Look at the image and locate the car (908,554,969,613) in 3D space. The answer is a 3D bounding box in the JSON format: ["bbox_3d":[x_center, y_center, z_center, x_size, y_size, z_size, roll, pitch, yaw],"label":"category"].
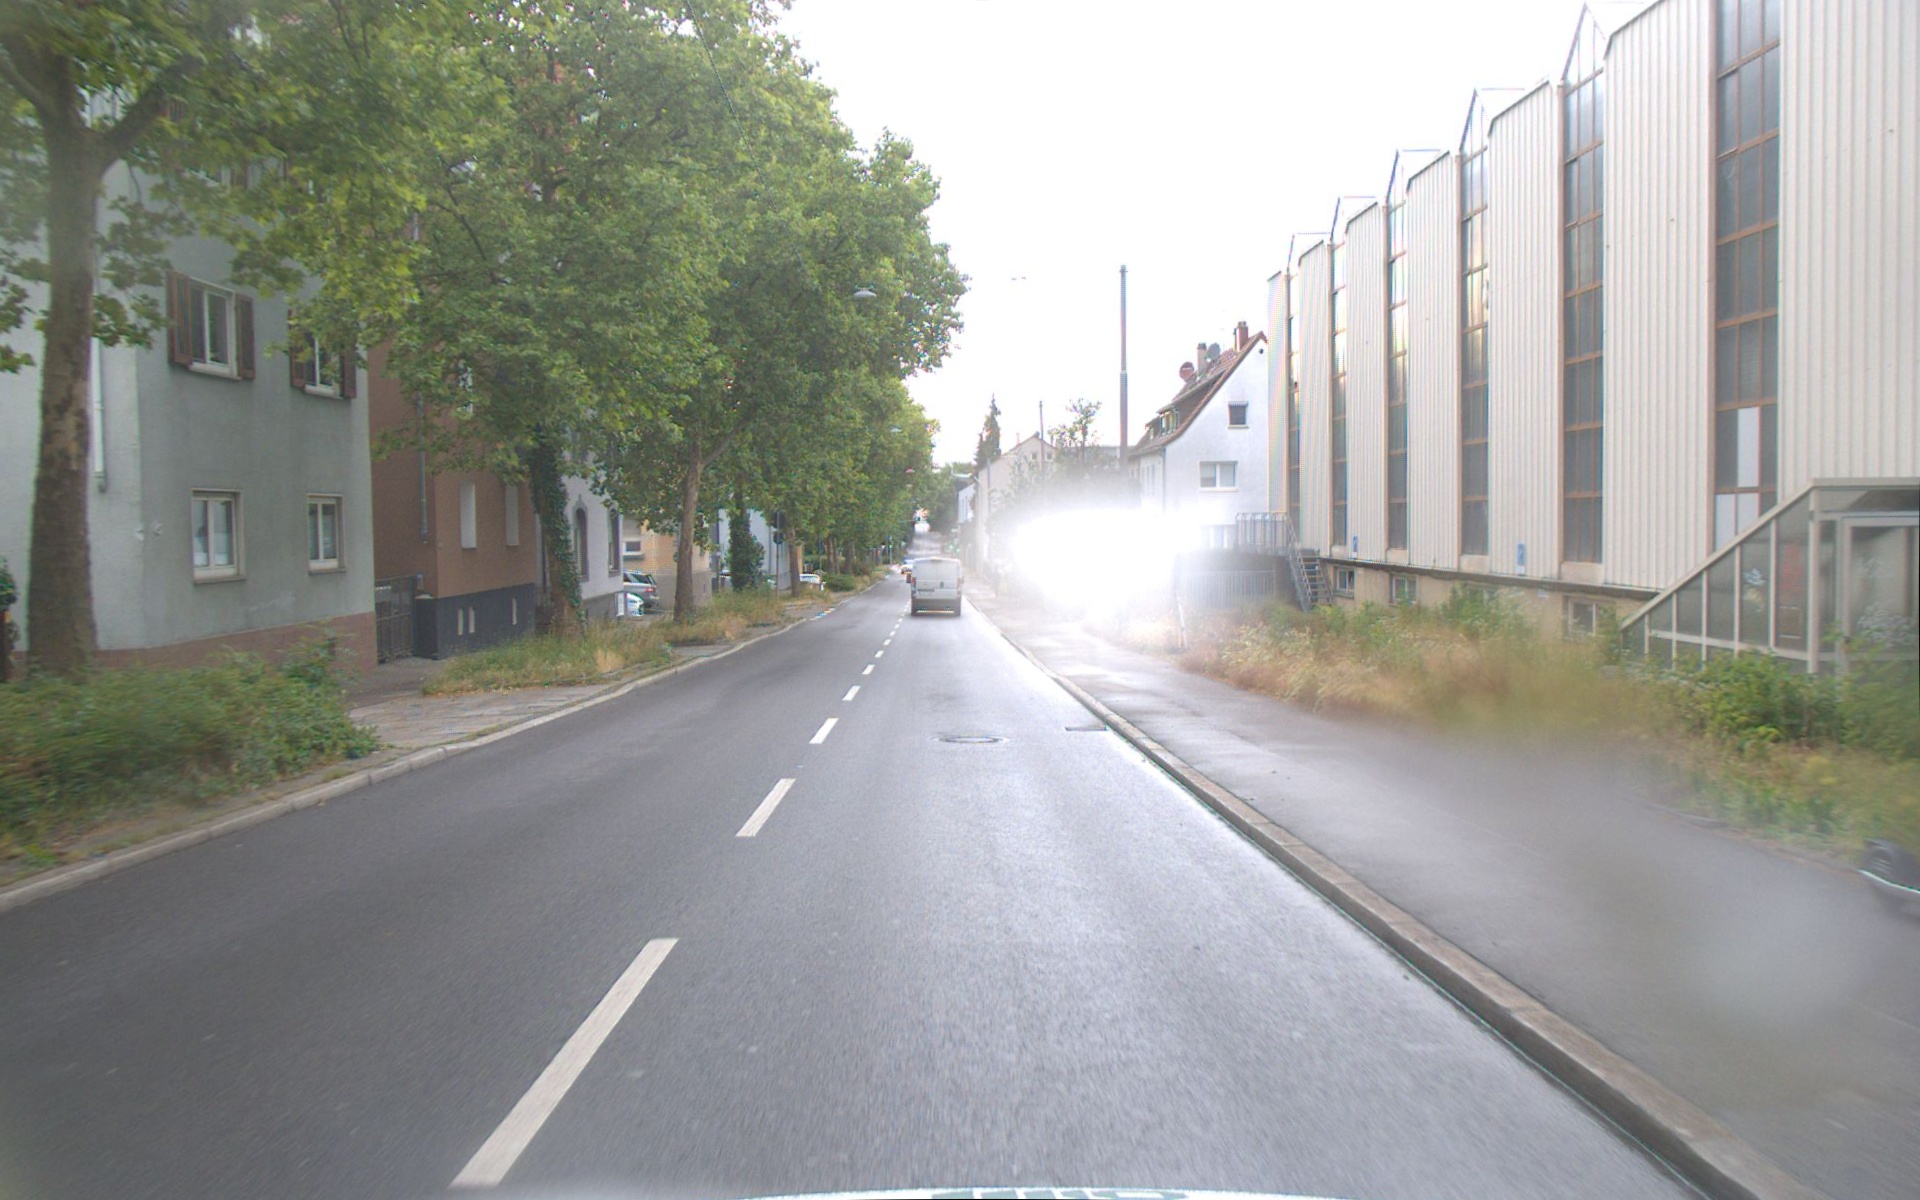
[{"bbox_3d":[-0.907,-0.718,67.249,2.300,2.197,4.776,-1,3,-2],"label":"car"}]

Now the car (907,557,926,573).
[{"bbox_3d":[-4.809,-3.836,182.390,1.954,1.738,4.257,0,1,-4],"label":"car"}]

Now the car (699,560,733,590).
[{"bbox_3d":[-16.806,-1.758,114.194,1.837,1.927,4.000,-1,2,-1],"label":"car"}]

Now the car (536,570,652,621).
[{"bbox_3d":[-14.308,-0.183,64.779,4.112,1.925,1.999,-1,1,-2],"label":"car"}]

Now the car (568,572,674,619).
[{"bbox_3d":[-14.367,-0.220,70.251,4.112,1.925,1.999,-1,1,-2],"label":"car"}]

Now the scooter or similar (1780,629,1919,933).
[{"bbox_3d":[4.114,0.735,6.721,0.593,1.182,1.698,-1,0,-5],"label":"scooter or similar"}]

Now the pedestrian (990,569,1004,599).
[{"bbox_3d":[2.115,-0.908,94.110,0.798,1.728,0.729,0,0,3],"label":"pedestrian"}]
